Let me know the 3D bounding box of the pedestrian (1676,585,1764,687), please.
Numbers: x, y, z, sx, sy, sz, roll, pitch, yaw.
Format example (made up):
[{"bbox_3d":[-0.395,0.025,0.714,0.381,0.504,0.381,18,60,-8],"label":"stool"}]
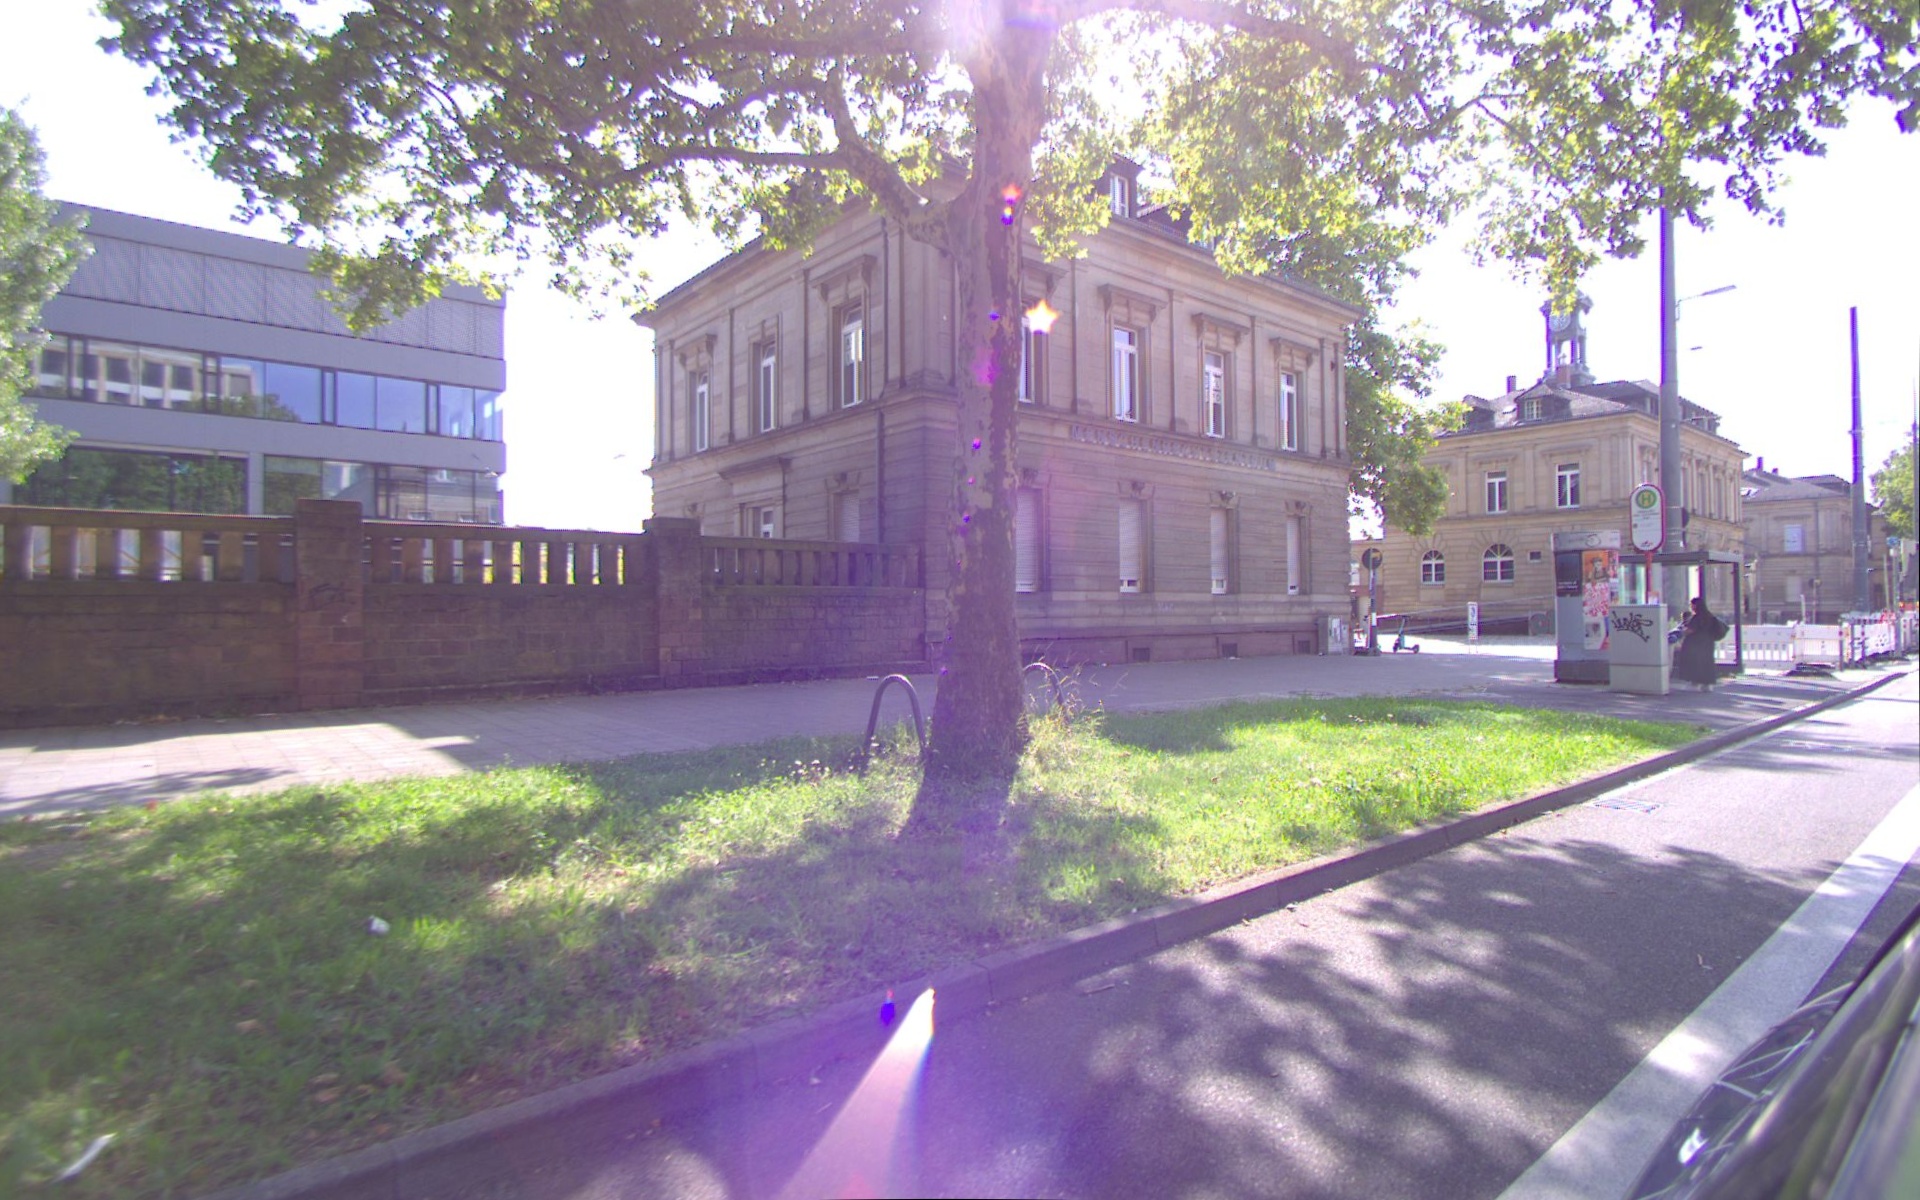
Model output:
[{"bbox_3d":[12.584,0.583,16.785,0.871,1.646,0.819,0,-1,13],"label":"pedestrian"}]

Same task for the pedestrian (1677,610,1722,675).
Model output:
[{"bbox_3d":[14.455,0.818,19.782,0.564,1.233,0.609,0,0,-42],"label":"pedestrian"}]

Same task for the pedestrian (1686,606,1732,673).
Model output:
[{"bbox_3d":[15.060,0.784,20.337,0.746,1.293,0.609,0,0,-43],"label":"pedestrian"}]

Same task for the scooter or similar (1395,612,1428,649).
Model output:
[{"bbox_3d":[14.761,0.988,33.068,1.203,1.181,0.410,0,-1,-36],"label":"scooter or similar"}]

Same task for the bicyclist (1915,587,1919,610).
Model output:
[{"bbox_3d":[68.309,-0.108,71.782,0.838,1.646,0.736,0,-1,-40],"label":"bicyclist"}]

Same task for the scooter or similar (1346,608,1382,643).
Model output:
[{"bbox_3d":[13.543,0.846,33.924,0.307,1.147,1.092,1,-1,-43],"label":"scooter or similar"}]
